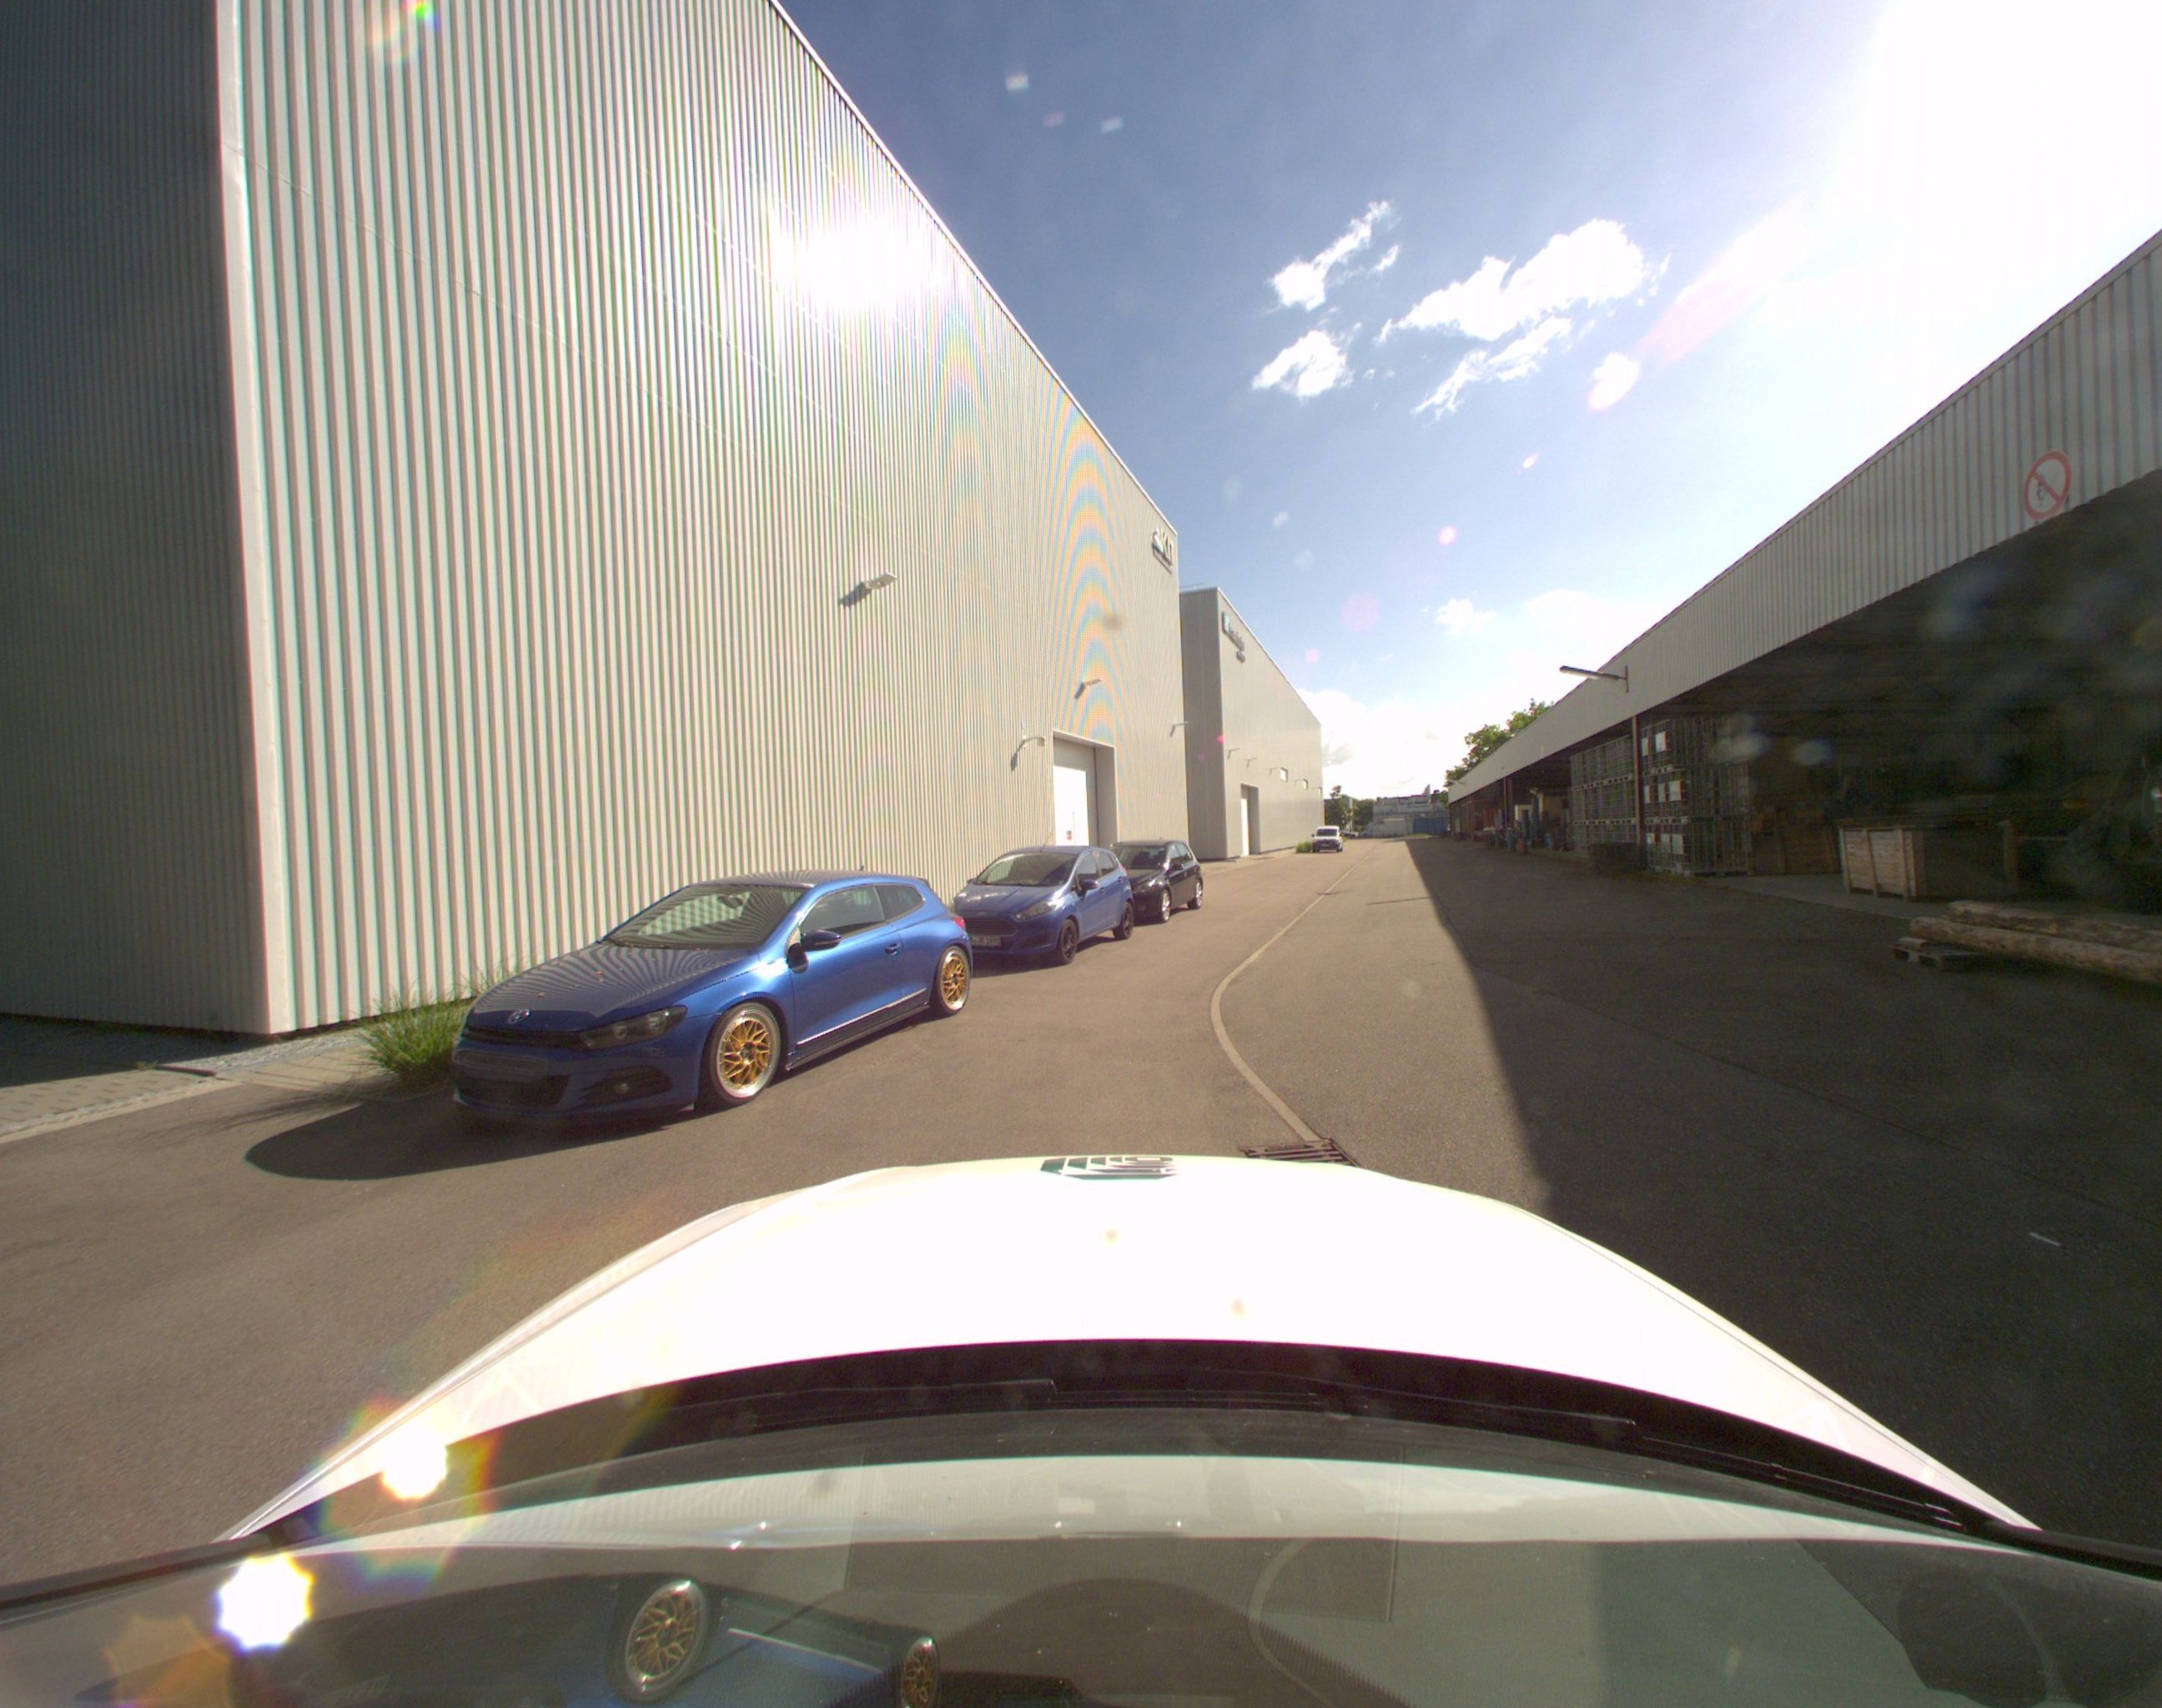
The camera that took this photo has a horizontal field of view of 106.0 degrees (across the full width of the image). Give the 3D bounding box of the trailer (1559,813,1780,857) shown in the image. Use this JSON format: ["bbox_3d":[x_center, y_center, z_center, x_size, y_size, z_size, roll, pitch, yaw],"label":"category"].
[{"bbox_3d":[20.097,-0.642,28.174,5.799,1.133,2.152,-3,1,19],"label":"trailer"}]

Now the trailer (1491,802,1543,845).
[{"bbox_3d":[26.172,-1.789,48.943,2.501,2.398,1.736,-2,0,22],"label":"trailer"}]

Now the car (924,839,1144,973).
[{"bbox_3d":[-0.449,0.560,11.638,1.617,1.500,4.116,0,2,20],"label":"car"}]

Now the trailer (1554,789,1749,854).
[{"bbox_3d":[21.530,-1.195,31.065,5.715,2.032,2.089,-3,1,22],"label":"trailer"}]

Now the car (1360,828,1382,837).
[{"bbox_3d":[56.850,-4.168,159.476,3.953,1.598,1.857,-1,-1,20],"label":"car"}]

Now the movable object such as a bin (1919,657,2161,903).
[{"bbox_3d":[15.479,-1.003,10.253,6.131,2.909,3.033,-2,1,22],"label":"movable object such as a bin"}]

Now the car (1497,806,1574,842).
[{"bbox_3d":[31.398,-2.022,56.389,4.394,2.309,1.926,-1,-1,22],"label":"car"}]

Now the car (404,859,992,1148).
[{"bbox_3d":[-2.435,0.804,6.418,1.759,1.360,4.075,-1,1,20],"label":"car"}]

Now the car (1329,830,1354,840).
[{"bbox_3d":[43.125,-3.139,134.750,3.953,1.598,1.750,-1,-1,20],"label":"car"}]

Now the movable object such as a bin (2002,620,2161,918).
[{"bbox_3d":[15.031,-1.001,6.869,9.112,2.909,3.229,-2,1,22],"label":"movable object such as a bin"}]

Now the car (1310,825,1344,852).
[{"bbox_3d":[17.036,-1.100,56.234,1.803,1.787,4.429,-1,2,22],"label":"car"}]

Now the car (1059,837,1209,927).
[{"bbox_3d":[1.223,0.439,16.267,1.739,1.500,4.317,0,2,21],"label":"car"}]
